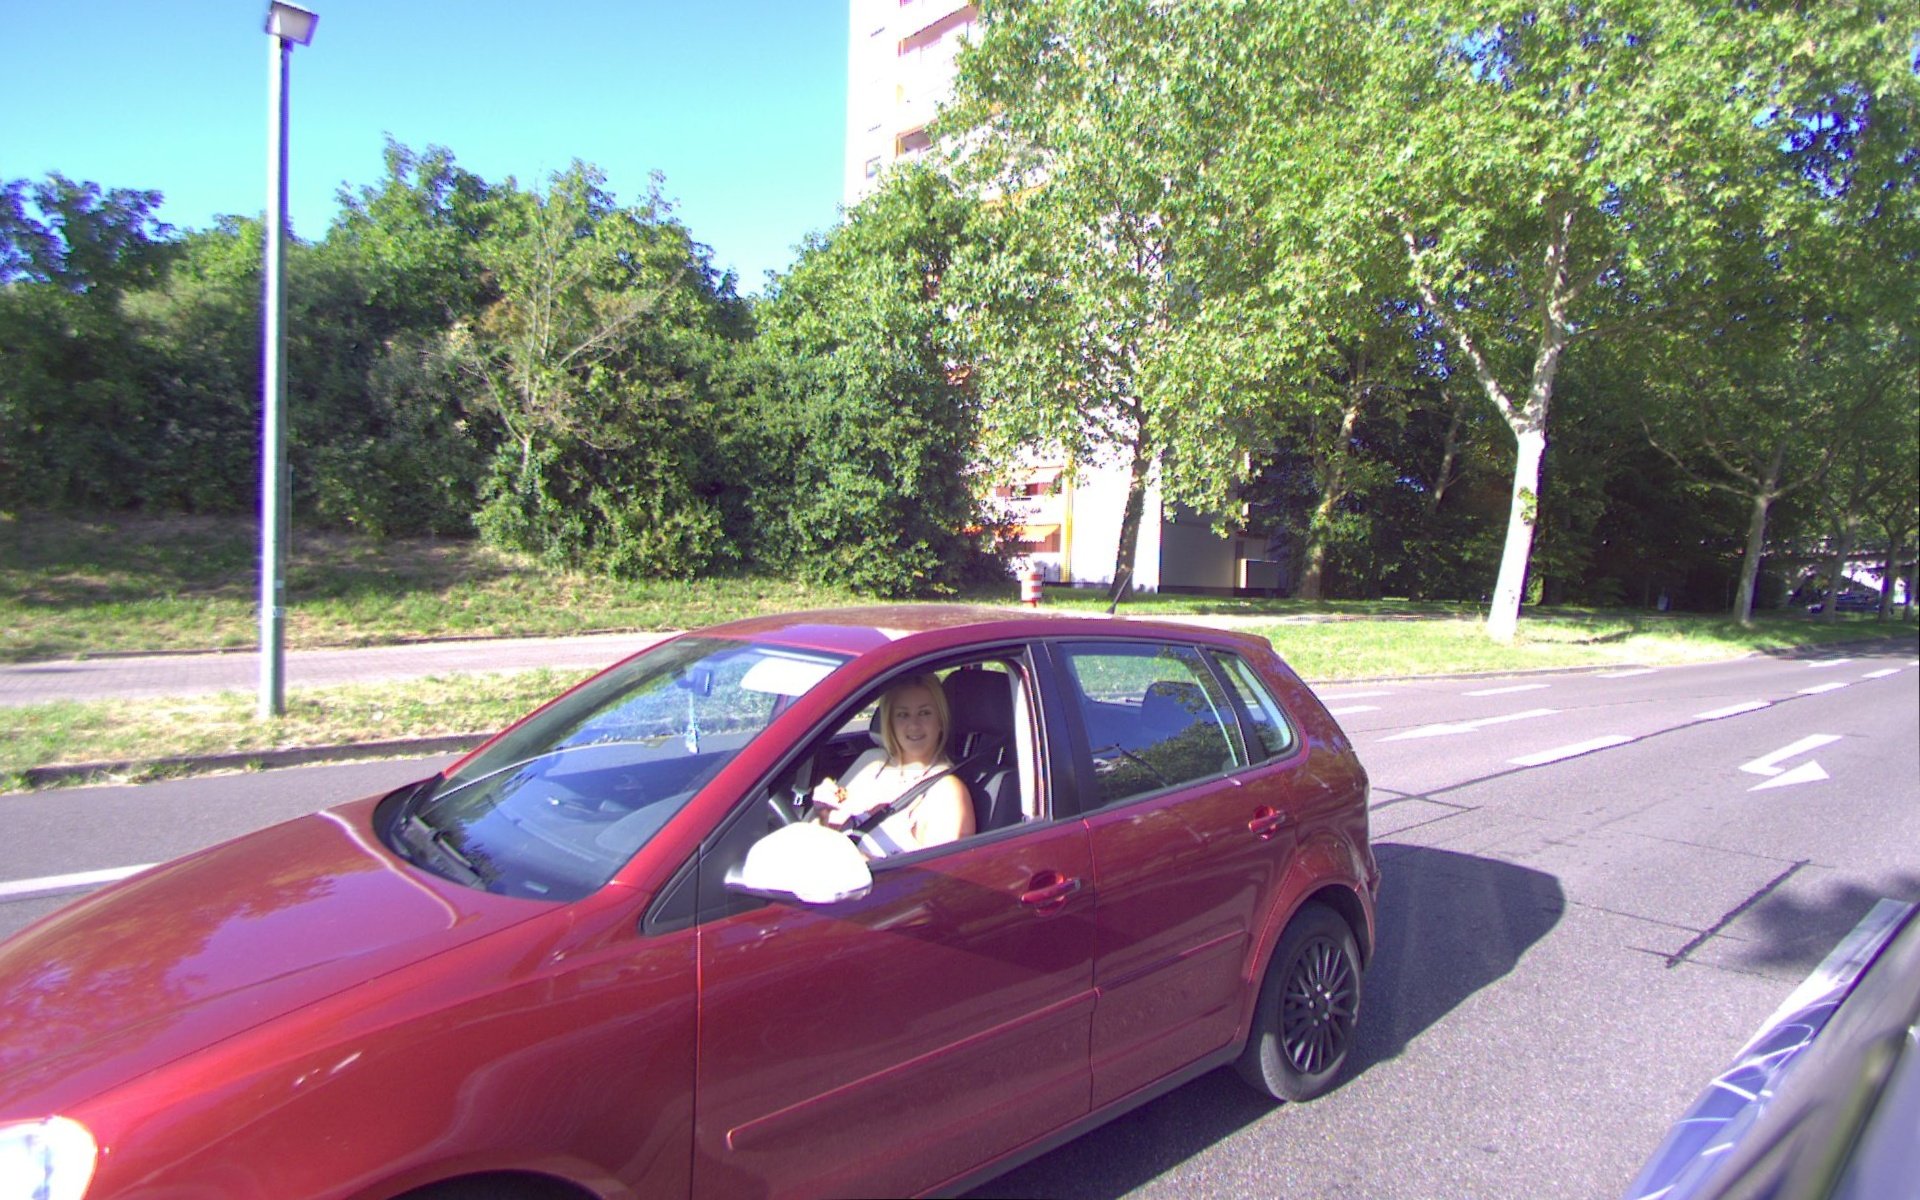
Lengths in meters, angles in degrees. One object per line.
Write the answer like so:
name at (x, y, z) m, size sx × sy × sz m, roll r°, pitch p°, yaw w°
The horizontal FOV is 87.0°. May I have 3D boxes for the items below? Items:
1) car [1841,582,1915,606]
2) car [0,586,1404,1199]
car at (80.073, -0.542, 88.314) m, size 4.704 × 1.959 × 1.878 m, roll 1°, pitch 1°, yaw 43°
car at (-0.448, 0.710, 2.720) m, size 3.624 × 1.479 × 1.579 m, roll -1°, pitch 0°, yaw -40°
